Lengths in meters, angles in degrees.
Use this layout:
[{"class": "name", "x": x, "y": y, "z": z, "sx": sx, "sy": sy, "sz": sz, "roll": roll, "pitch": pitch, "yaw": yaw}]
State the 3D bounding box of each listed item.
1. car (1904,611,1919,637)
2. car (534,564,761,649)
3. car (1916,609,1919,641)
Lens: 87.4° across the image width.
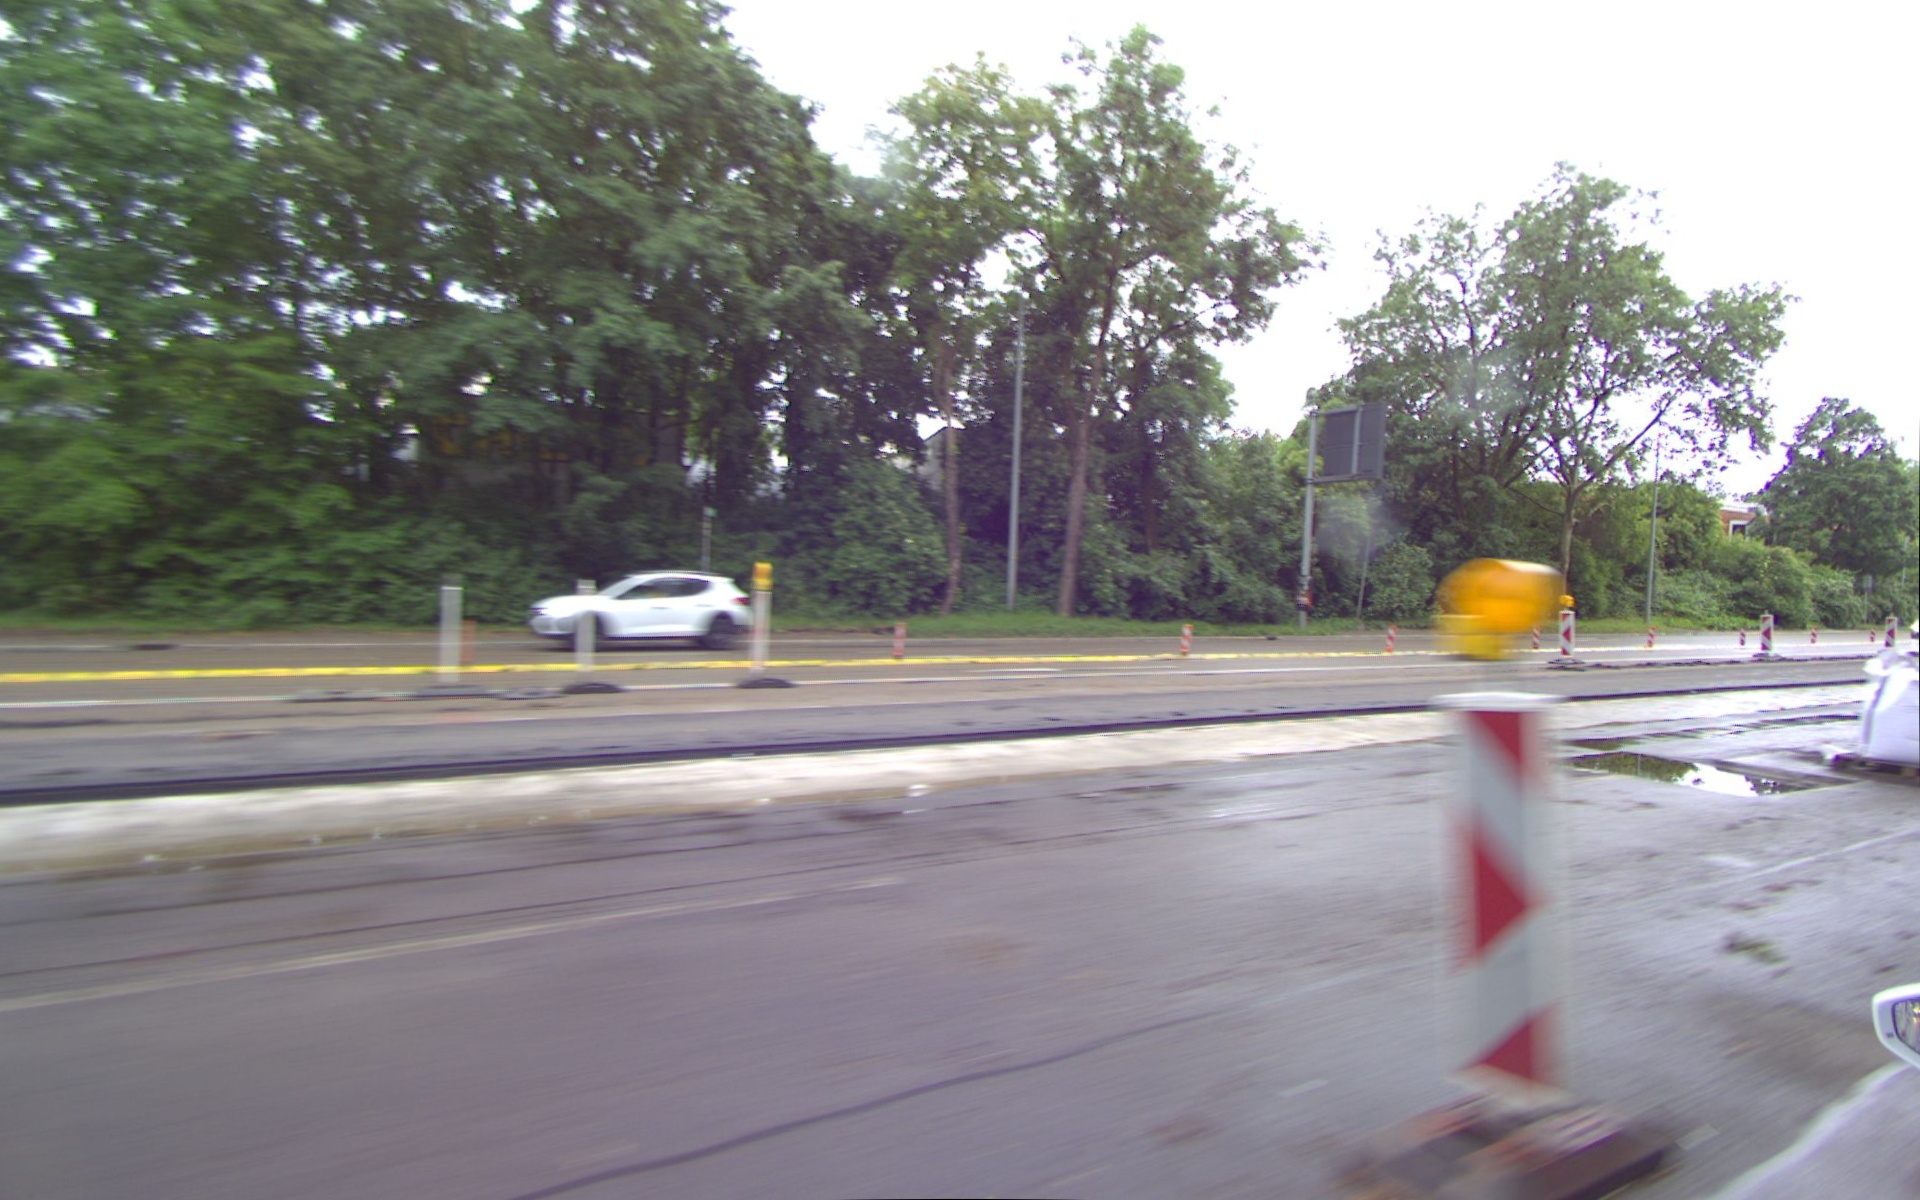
[{"class": "car", "x": 53.334, "y": 1.311, "z": 54.688, "sx": 4.342, "sy": 1.373, "sz": 1.807, "roll": 1, "pitch": 0, "yaw": -33}, {"class": "car", "x": -6.248, "y": 0.168, "z": 20.212, "sx": 4.110, "sy": 1.561, "sz": 1.658, "roll": 1, "pitch": -1, "yaw": -31}, {"class": "car", "x": 45.528, "y": 1.207, "z": 45.979, "sx": 3.997, "sy": 1.423, "sz": 1.598, "roll": 1, "pitch": 2, "yaw": -33}]
